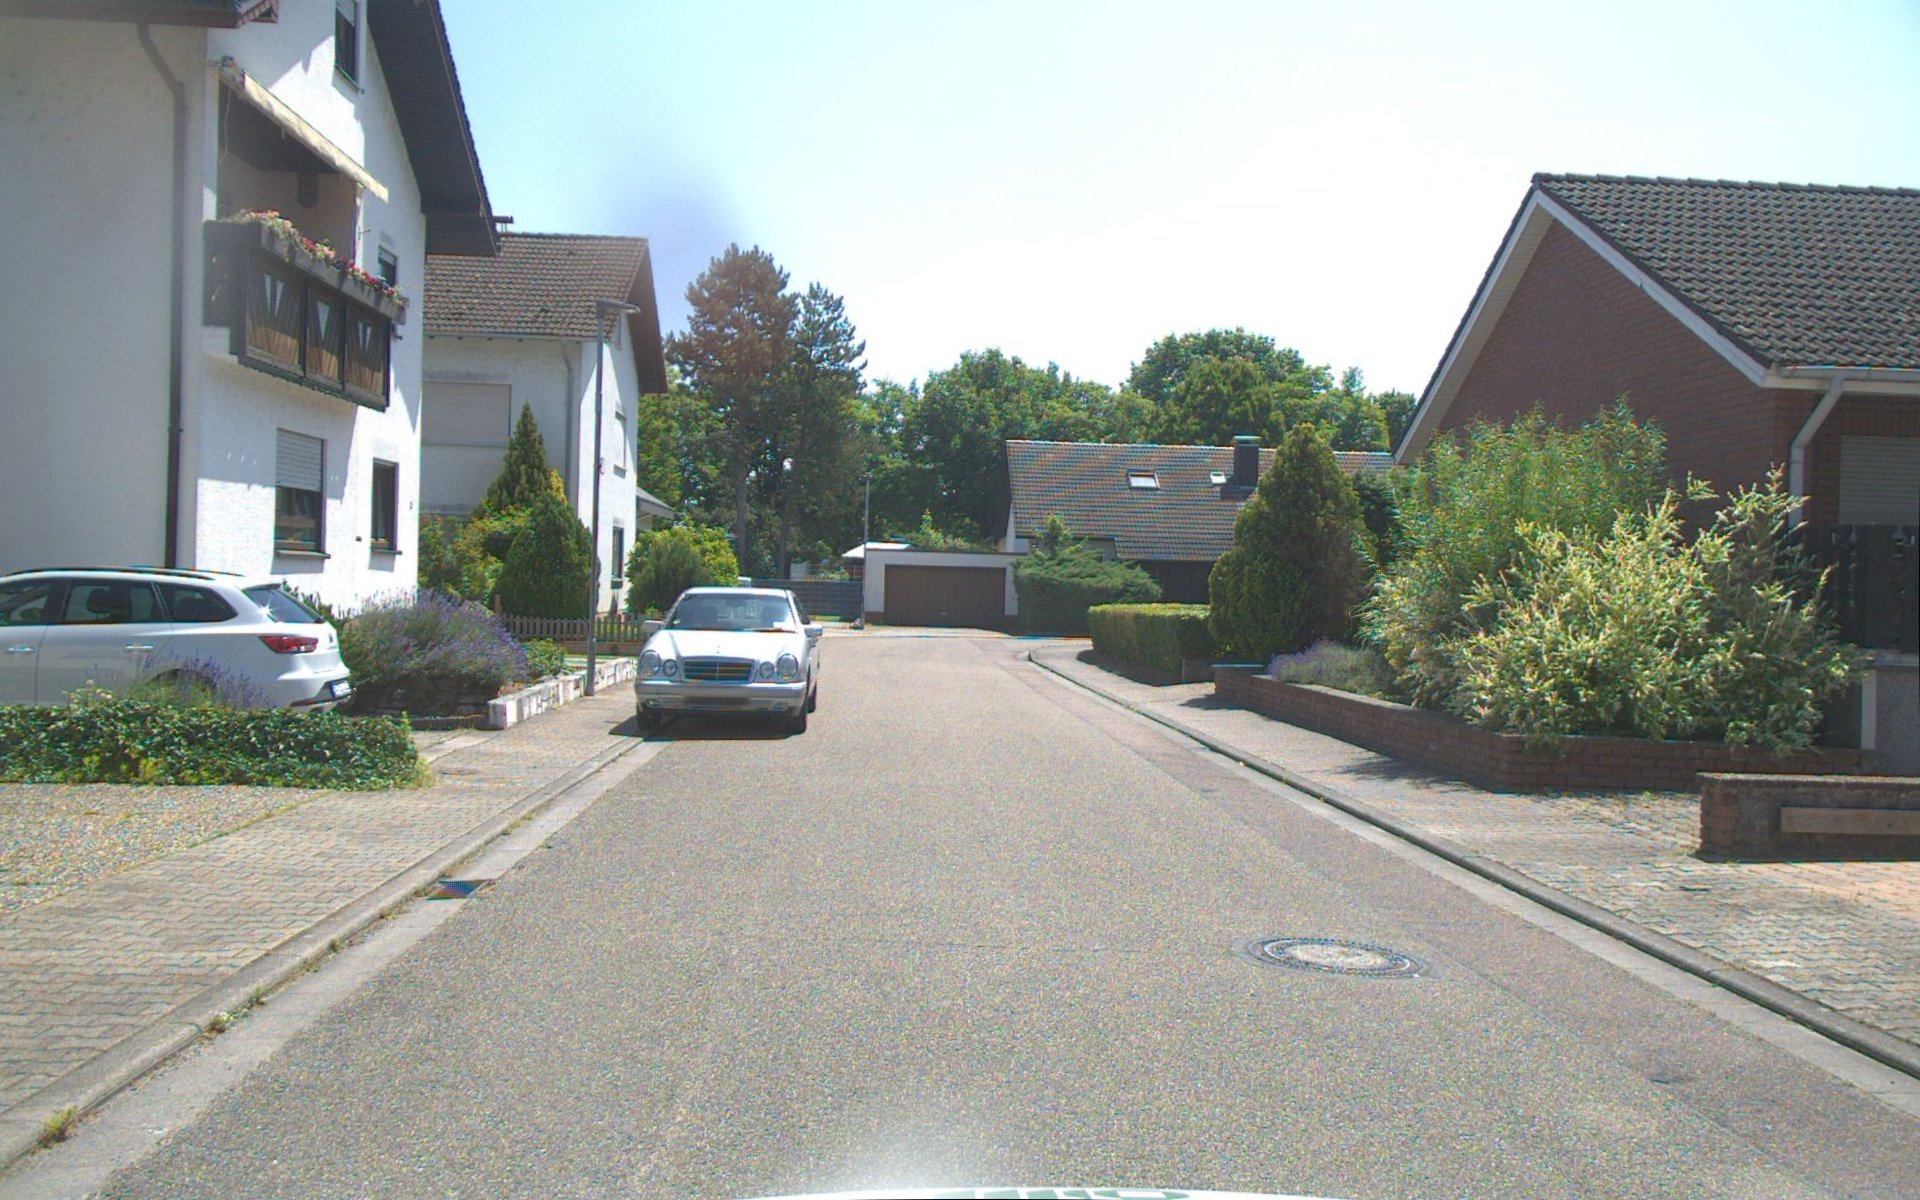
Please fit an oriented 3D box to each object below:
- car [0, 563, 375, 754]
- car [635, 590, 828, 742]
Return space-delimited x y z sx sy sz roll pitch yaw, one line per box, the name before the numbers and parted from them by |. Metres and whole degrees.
car | -7.160 0.443 13.871 3.913 1.445 1.842 2 0 -9
car | -2.386 0.628 18.215 1.665 1.417 4.335 2 1 -2
